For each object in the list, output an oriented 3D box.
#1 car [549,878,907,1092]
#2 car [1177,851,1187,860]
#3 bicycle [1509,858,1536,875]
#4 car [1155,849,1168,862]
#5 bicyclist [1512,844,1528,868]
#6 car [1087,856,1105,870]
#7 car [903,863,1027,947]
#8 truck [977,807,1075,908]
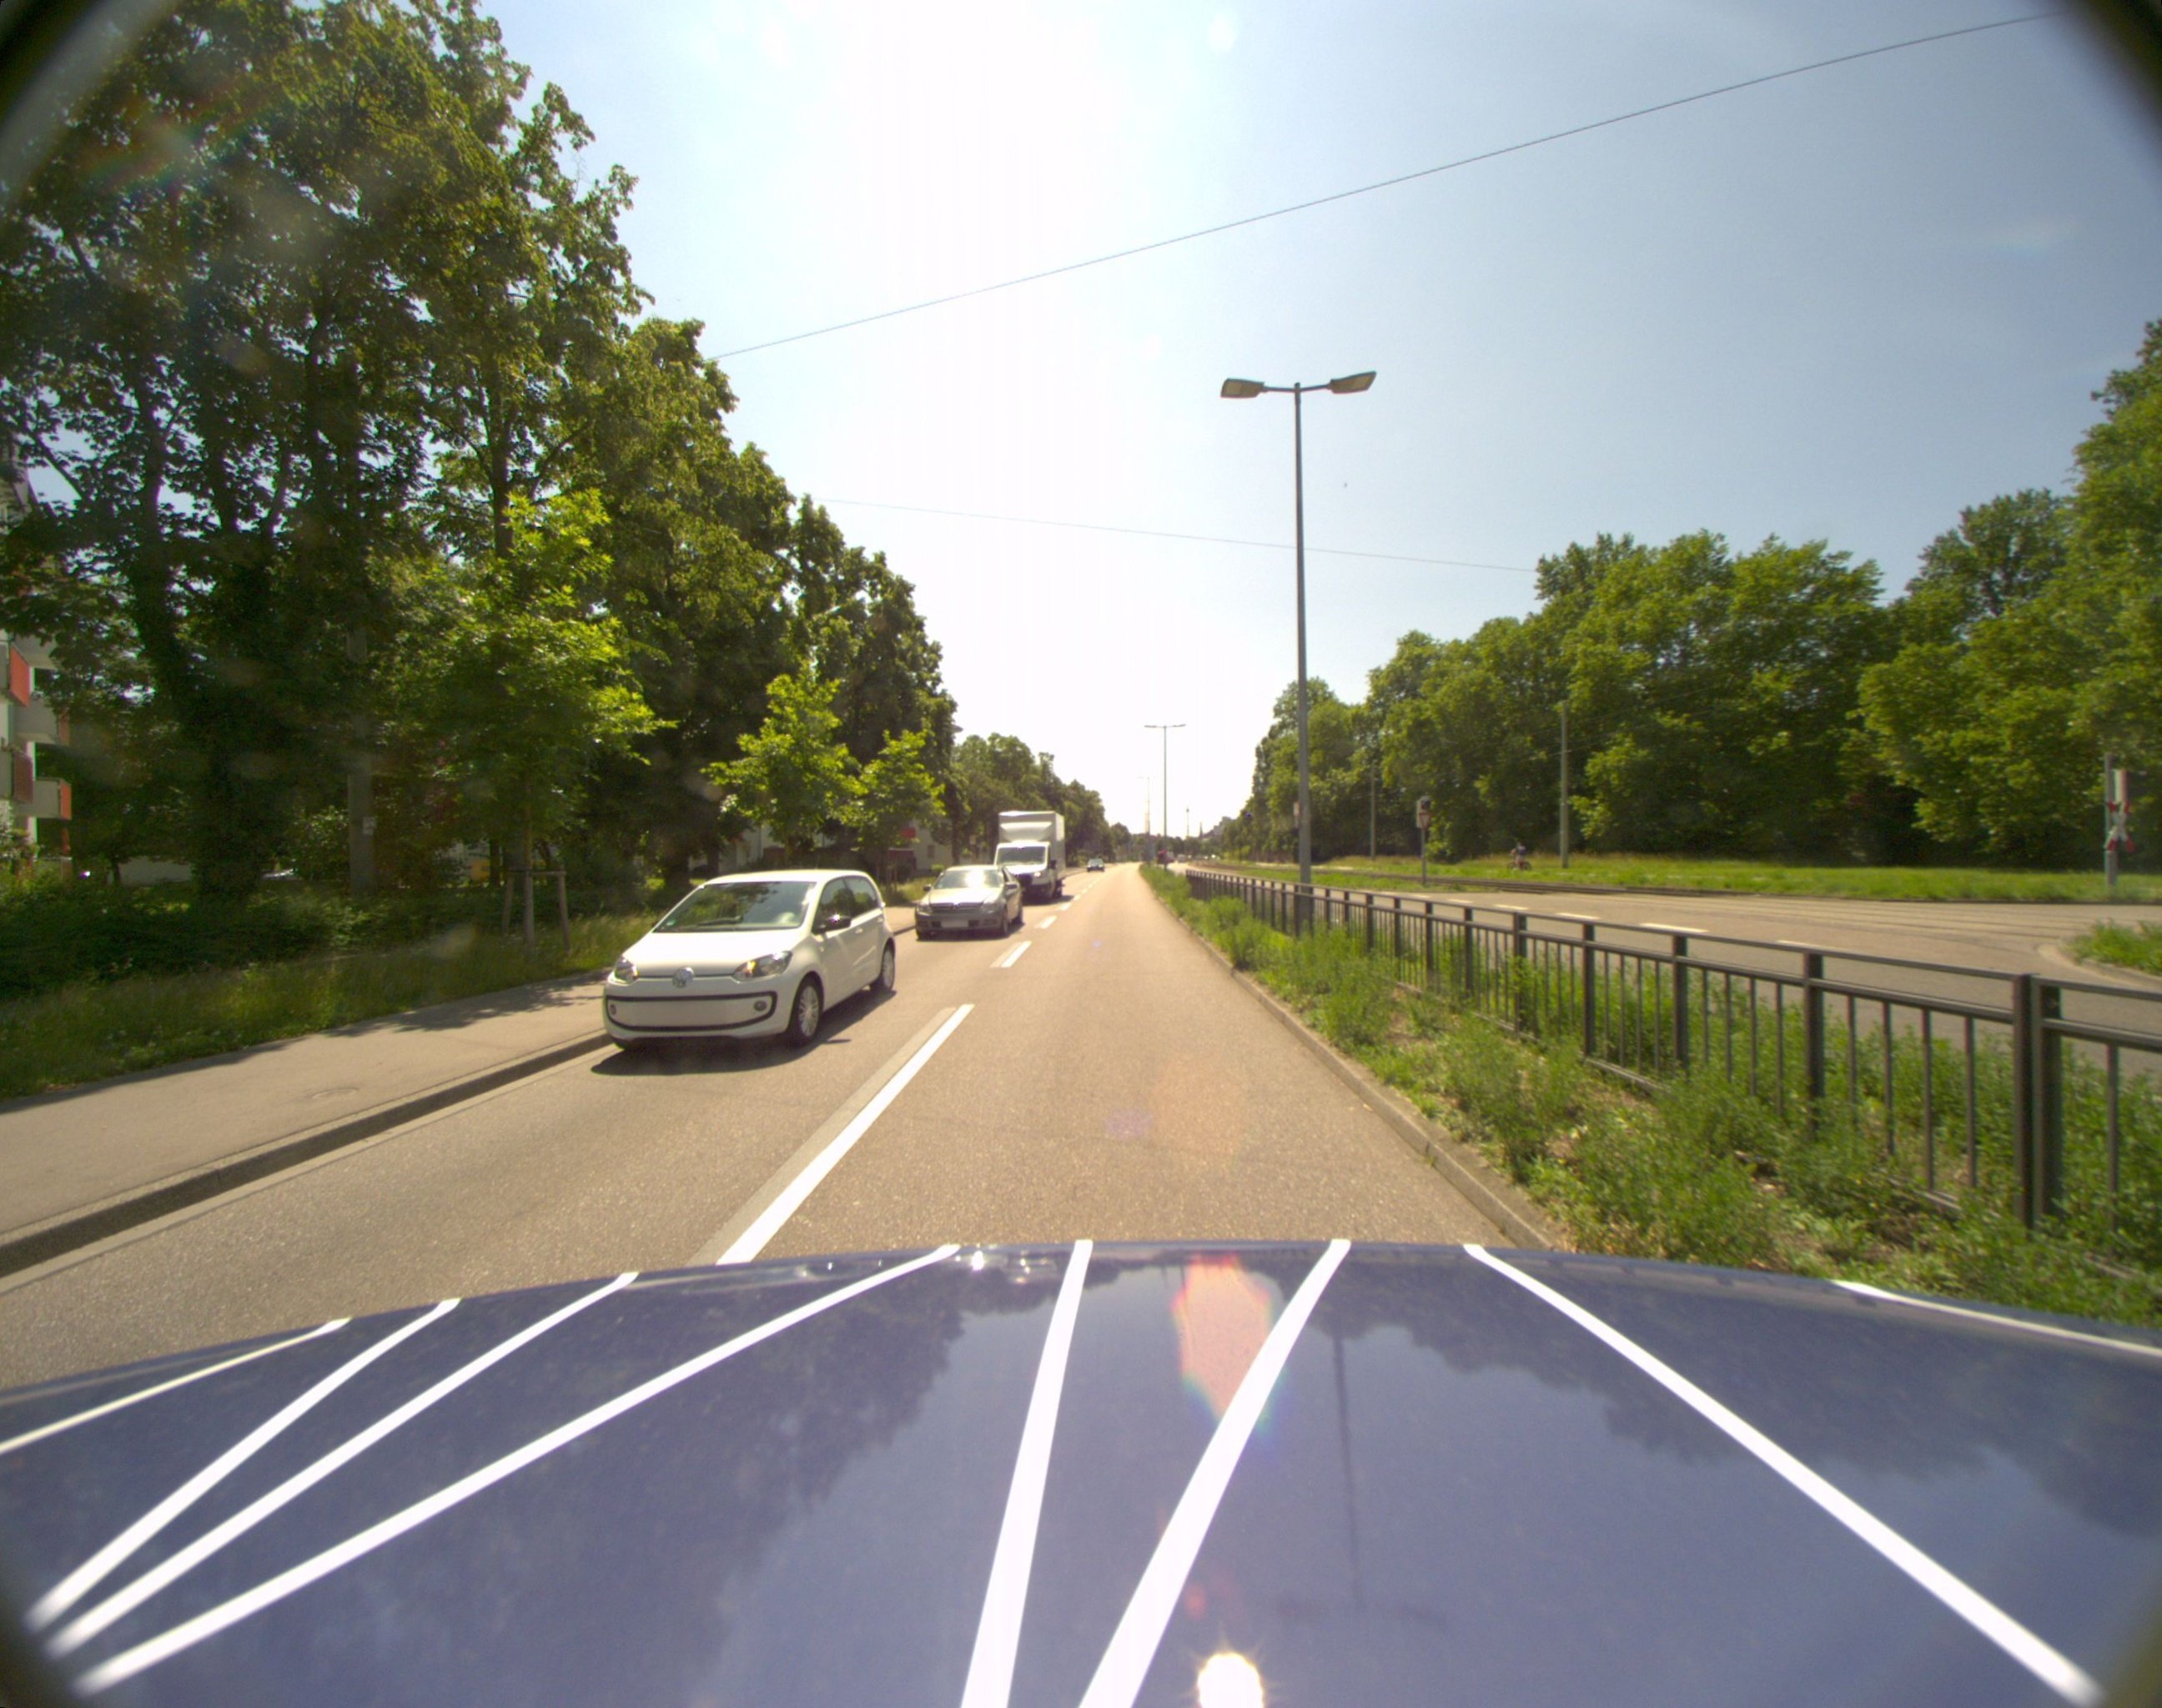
[{"bbox_3d":[-3.099,1.049,7.639,1.663,1.441,3.855,-2,0,2],"label":"car"},{"bbox_3d":[24.152,0.329,181.924,1.998,2.002,5.031,0,0,2],"label":"car"},{"bbox_3d":[25.043,0.688,43.106,0.509,0.896,1.565,-1,0,-4],"label":"bicycle"},{"bbox_3d":[14.253,0.257,135.016,1.998,2.352,5.373,0,0,2],"label":"car"},{"bbox_3d":[24.927,0.097,43.145,0.509,1.328,0.680,-1,1,-5],"label":"bicyclist"},{"bbox_3d":[1.683,0.965,83.788,1.829,1.556,4.000,-1,0,2],"label":"car"},{"bbox_3d":[-2.341,0.995,16.365,1.903,1.451,3.971,-2,0,2],"label":"car"},{"bbox_3d":[-1.848,0.096,29.144,2.293,3.259,8.315,-1,0,5],"label":"truck"}]
